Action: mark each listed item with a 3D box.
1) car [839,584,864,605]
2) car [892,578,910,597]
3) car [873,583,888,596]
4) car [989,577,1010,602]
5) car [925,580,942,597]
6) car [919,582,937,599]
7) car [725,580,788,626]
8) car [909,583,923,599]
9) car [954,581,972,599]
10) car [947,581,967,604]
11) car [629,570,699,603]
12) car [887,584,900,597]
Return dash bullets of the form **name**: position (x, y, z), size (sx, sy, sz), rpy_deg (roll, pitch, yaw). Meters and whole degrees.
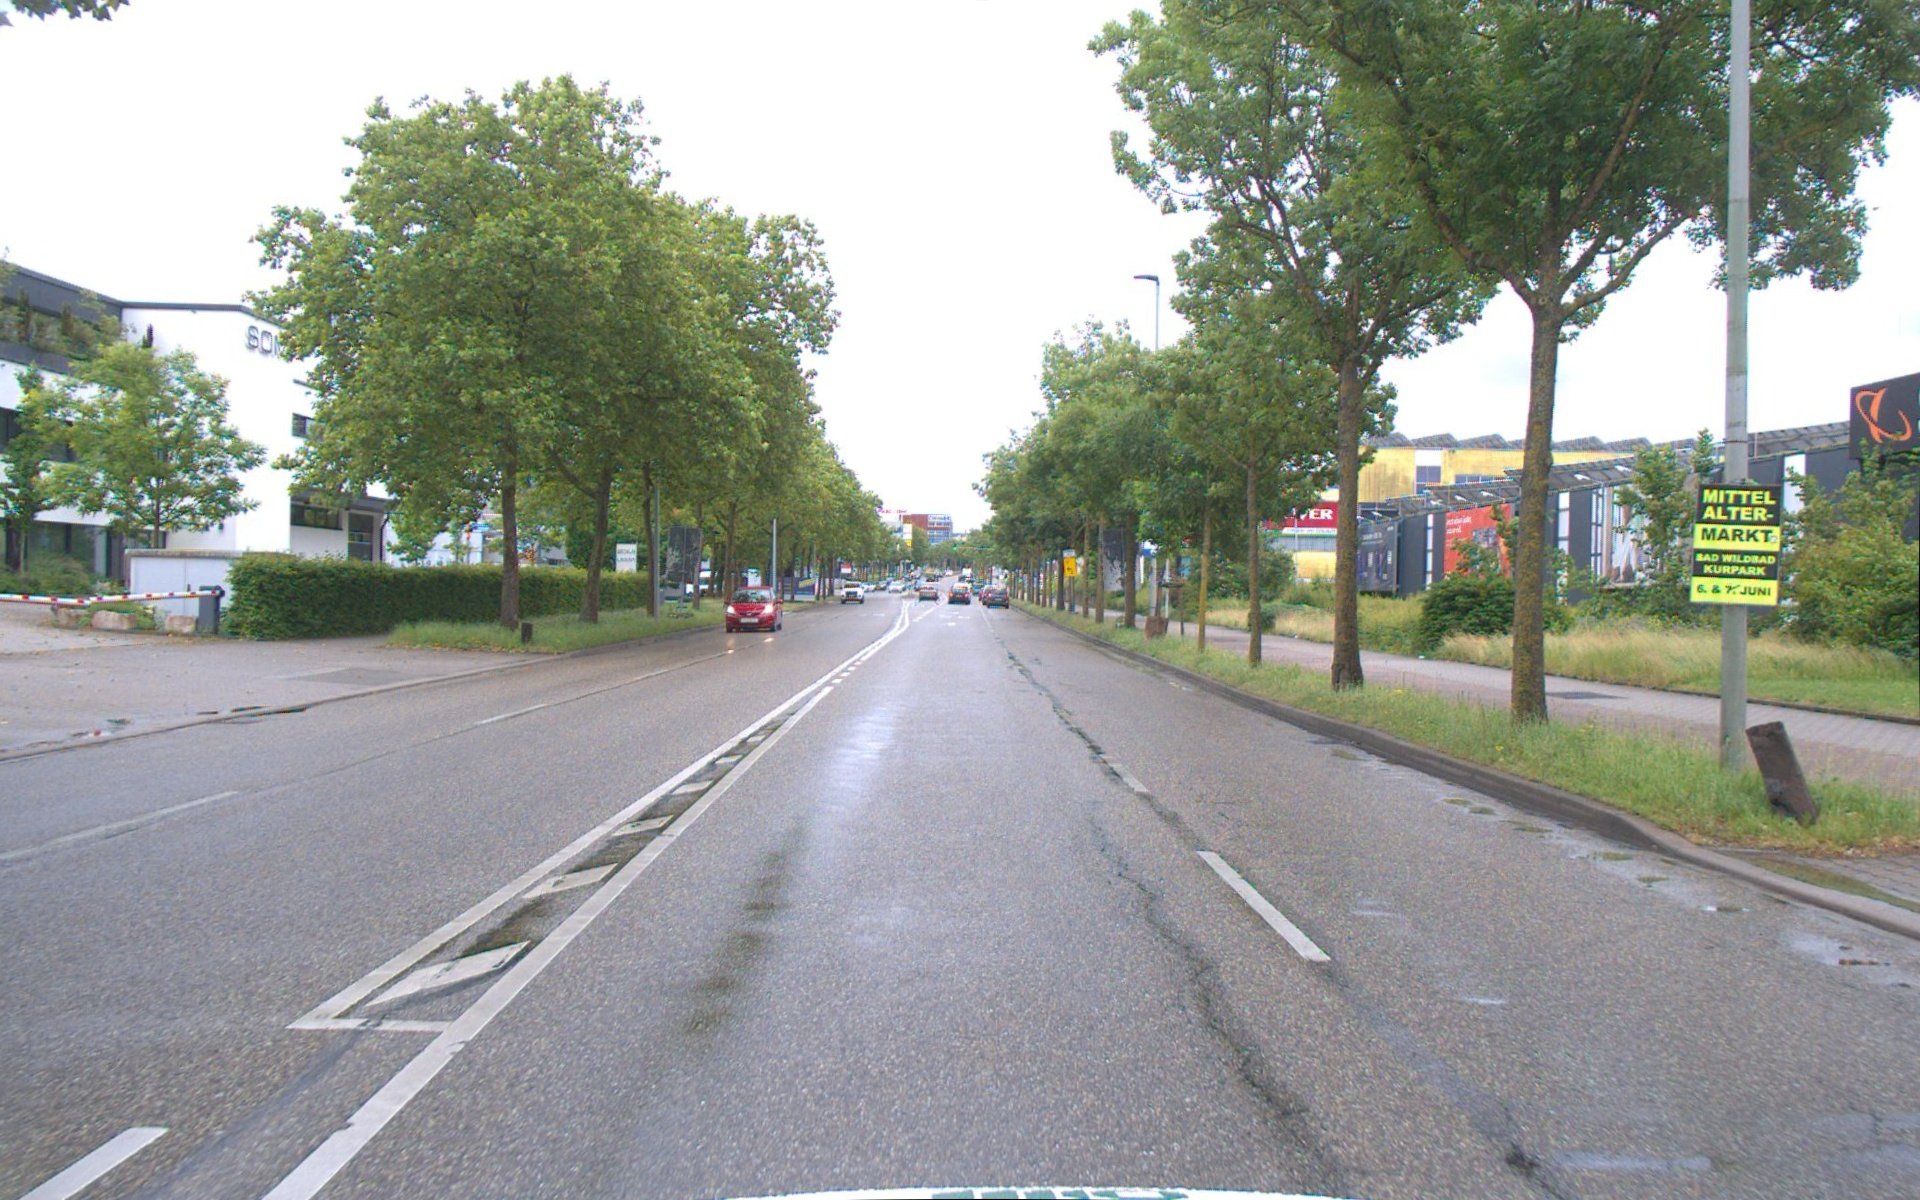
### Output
- **car**: position (-9.133, -0.465, 139.629), size (1.669, 1.767, 4.001), rpy_deg (0, 0, 2)
- **car**: position (-6.512, -1.398, 183.727), size (1.953, 2.049, 3.999), rpy_deg (0, 0, -1)
- **car**: position (-12.172, -1.588, 252.709), size (2.171, 2.049, 3.998), rpy_deg (0, 0, -2)
- **car**: position (3.203, -0.840, 134.283), size (1.709, 2.049, 4.001), rpy_deg (0, 0, 1)
- **car**: position (-2.921, -1.257, 185.439), size (1.852, 1.909, 4.123), rpy_deg (0, 0, 0)
- **car**: position (-3.312, -0.942, 170.740), size (1.709, 1.730, 4.001), rpy_deg (0, 0, 1)
- **car**: position (-6.978, 0.088, 56.963), size (1.690, 1.544, 3.821), rpy_deg (0, 0, 0)
- **car**: position (-5.711, -1.130, 212.613), size (1.790, 2.049, 3.998), rpy_deg (0, 0, -2)
- **car**: position (0.304, -0.989, 161.471), size (1.709, 1.767, 4.001), rpy_deg (0, 0, 1)
- **car**: position (-0.223, -0.683, 148.104), size (1.709, 2.049, 4.001), rpy_deg (0, 0, 1)
- **car**: position (-17.956, -0.814, 100.353), size (3.905, 1.958, 1.826), rpy_deg (0, 0, 0)
- **car**: position (-9.233, -1.331, 229.864), size (1.790, 1.758, 3.998), rpy_deg (0, 0, -2)
